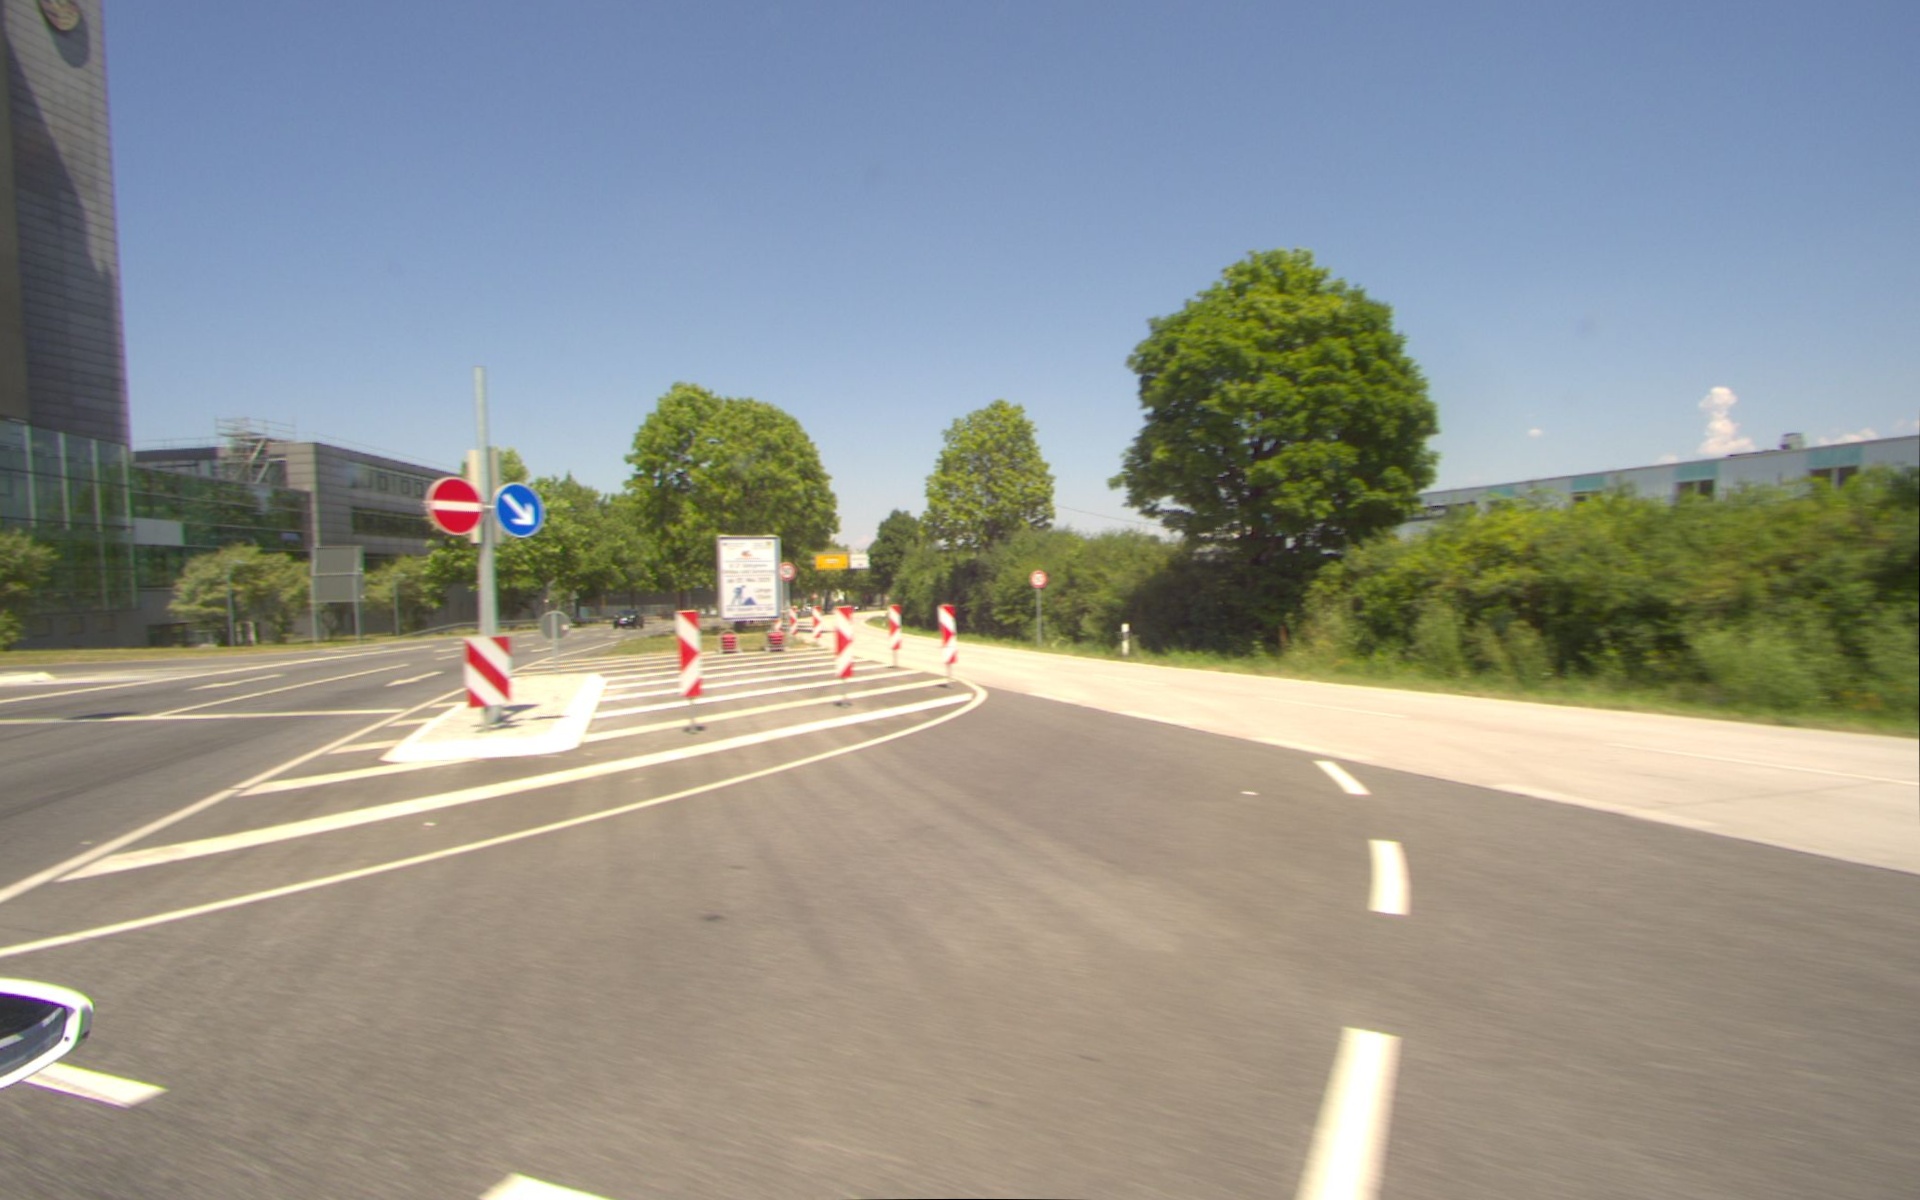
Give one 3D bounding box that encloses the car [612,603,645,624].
[{"bbox_3d":[-26.786,1.097,81.095,1.635,1.610,3.999,0,0,-5],"label":"car"}]
